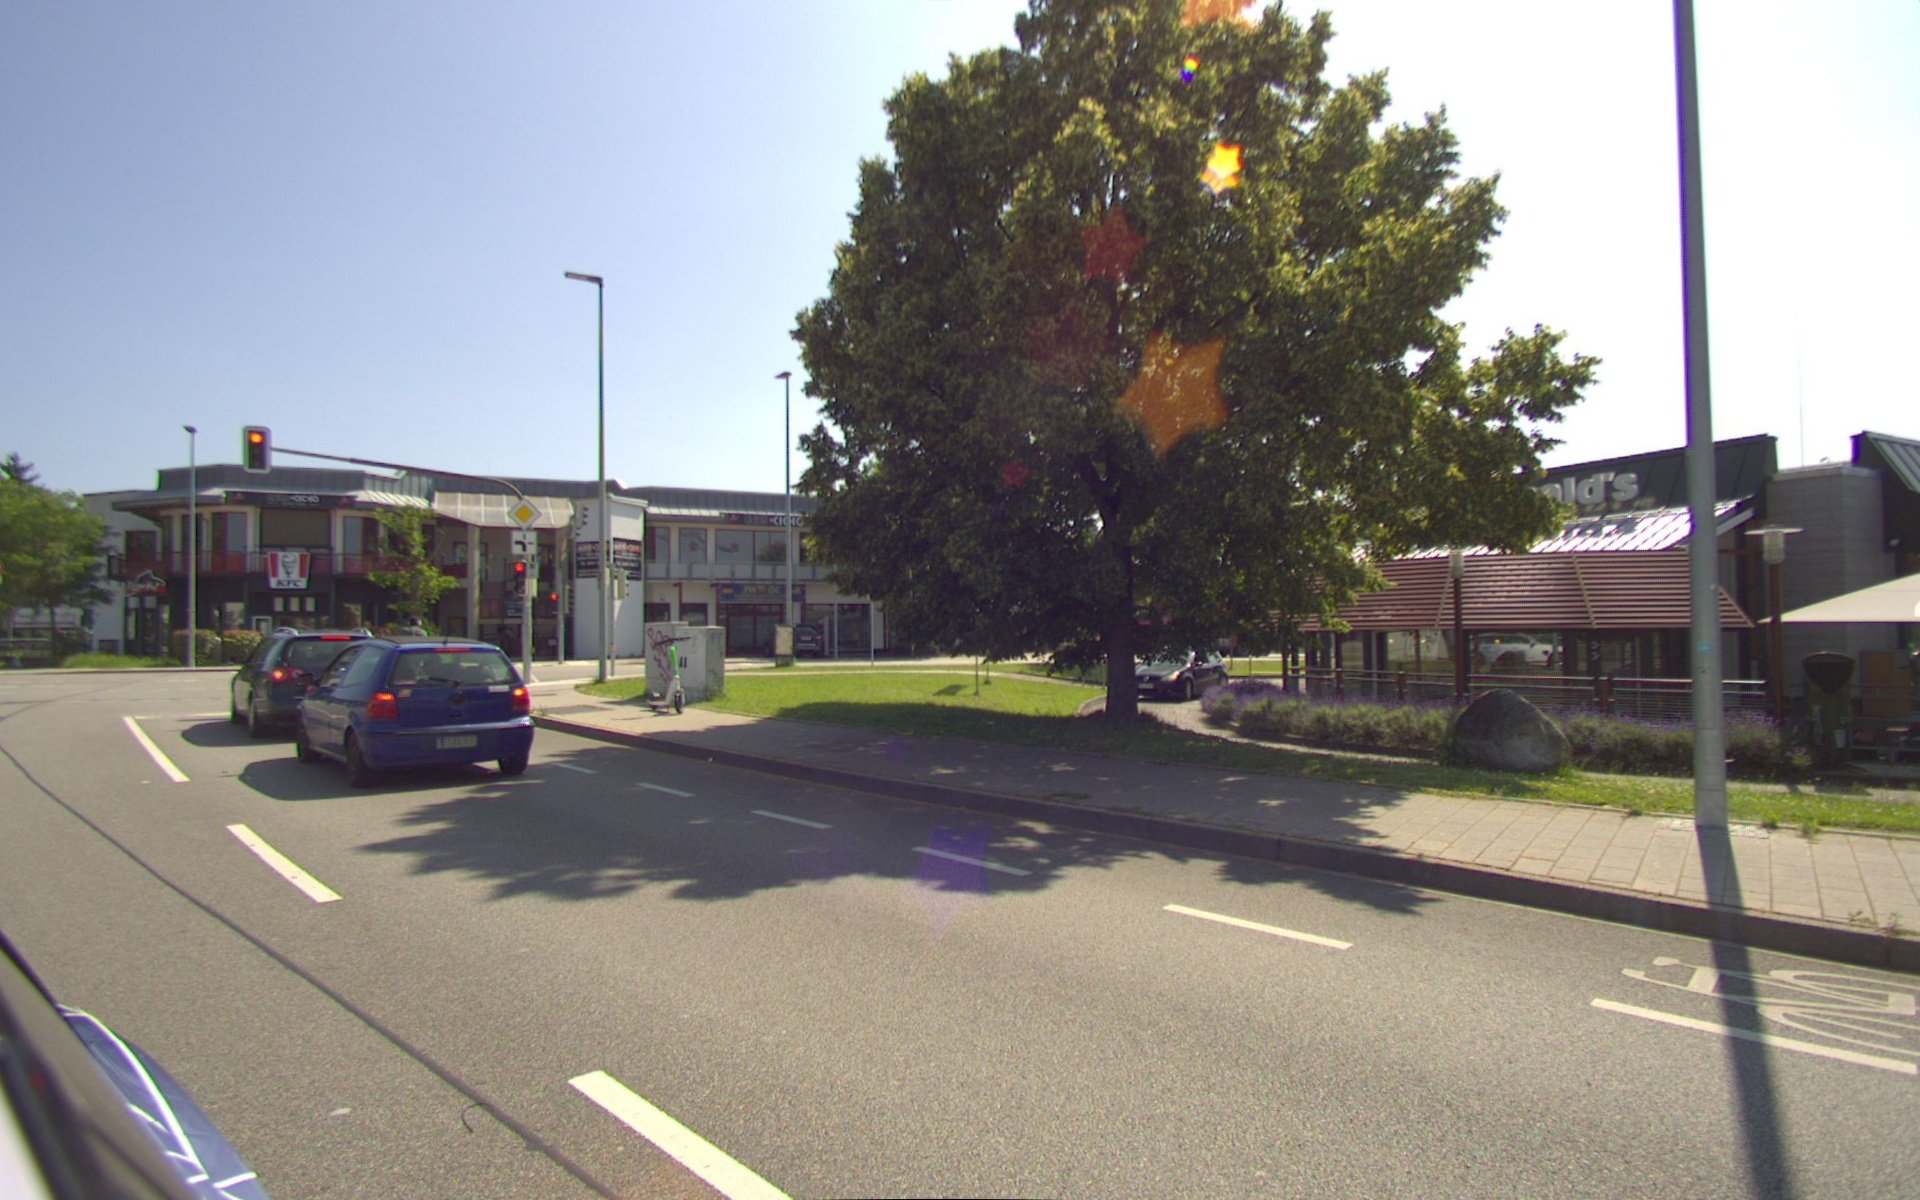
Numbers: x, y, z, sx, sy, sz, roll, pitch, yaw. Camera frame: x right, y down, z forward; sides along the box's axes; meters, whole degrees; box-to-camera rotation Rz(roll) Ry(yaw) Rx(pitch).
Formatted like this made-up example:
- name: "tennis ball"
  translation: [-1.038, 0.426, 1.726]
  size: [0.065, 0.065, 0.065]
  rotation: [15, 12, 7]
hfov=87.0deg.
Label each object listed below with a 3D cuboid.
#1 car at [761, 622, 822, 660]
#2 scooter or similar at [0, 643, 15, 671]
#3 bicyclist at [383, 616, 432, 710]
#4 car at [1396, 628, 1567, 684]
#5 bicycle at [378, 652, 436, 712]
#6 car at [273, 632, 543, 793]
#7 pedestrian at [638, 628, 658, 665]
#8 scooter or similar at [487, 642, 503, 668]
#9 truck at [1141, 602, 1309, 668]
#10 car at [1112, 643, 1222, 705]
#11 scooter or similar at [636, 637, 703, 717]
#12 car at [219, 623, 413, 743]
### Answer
- name: "car"
  translation: [-8.696, 2.097, 51.926]
  size: [1.777, 1.870, 4.674]
  rotation: [1, -2, -27]
- name: "scooter or similar"
  translation: [-38.869, 2.317, 41.101]
  size: [0.420, 1.132, 1.455]
  rotation: [1, -3, -32]
- name: "bicyclist"
  translation: [-10.889, 1.232, 19.949]
  size: [0.701, 1.802, 0.810]
  rotation: [1, -3, -38]
- name: "car"
  translation: [15.538, 1.634, 30.276]
  size: [4.190, 1.564, 1.838]
  rotation: [-2, -3, 45]
- name: "bicycle"
  translation: [-10.937, 1.597, 19.989]
  size: [0.688, 1.113, 1.759]
  rotation: [3, -4, -38]
- name: "car"
  translation: [-6.019, 1.054, 10.810]
  size: [1.636, 1.391, 4.005]
  rotation: [2, -3, -42]
- name: "pedestrian"
  translation: [-14.115, 2.102, 45.830]
  size: [0.722, 1.658, 0.843]
  rotation: [0, -2, -7]
- name: "scooter or similar"
  translation: [-20.993, 2.464, 45.711]
  size: [0.492, 1.132, 1.509]
  rotation: [0, -2, -18]
- name: "truck"
  translation: [14.649, 1.907, 55.761]
  size: [9.009, 3.412, 3.325]
  rotation: [0, -3, -27]
- name: "car"
  translation: [5.866, 2.004, 28.299]
  size: [1.858, 1.564, 4.147]
  rotation: [-2, -3, 29]
- name: "scooter or similar"
  translation: [-4.587, 1.189, 15.943]
  size: [0.465, 1.193, 1.367]
  rotation: [2, -3, -42]
- name: "car"
  translation: [-9.731, 1.138, 15.110]
  size: [1.757, 1.508, 4.729]
  rotation: [2, -3, -41]
